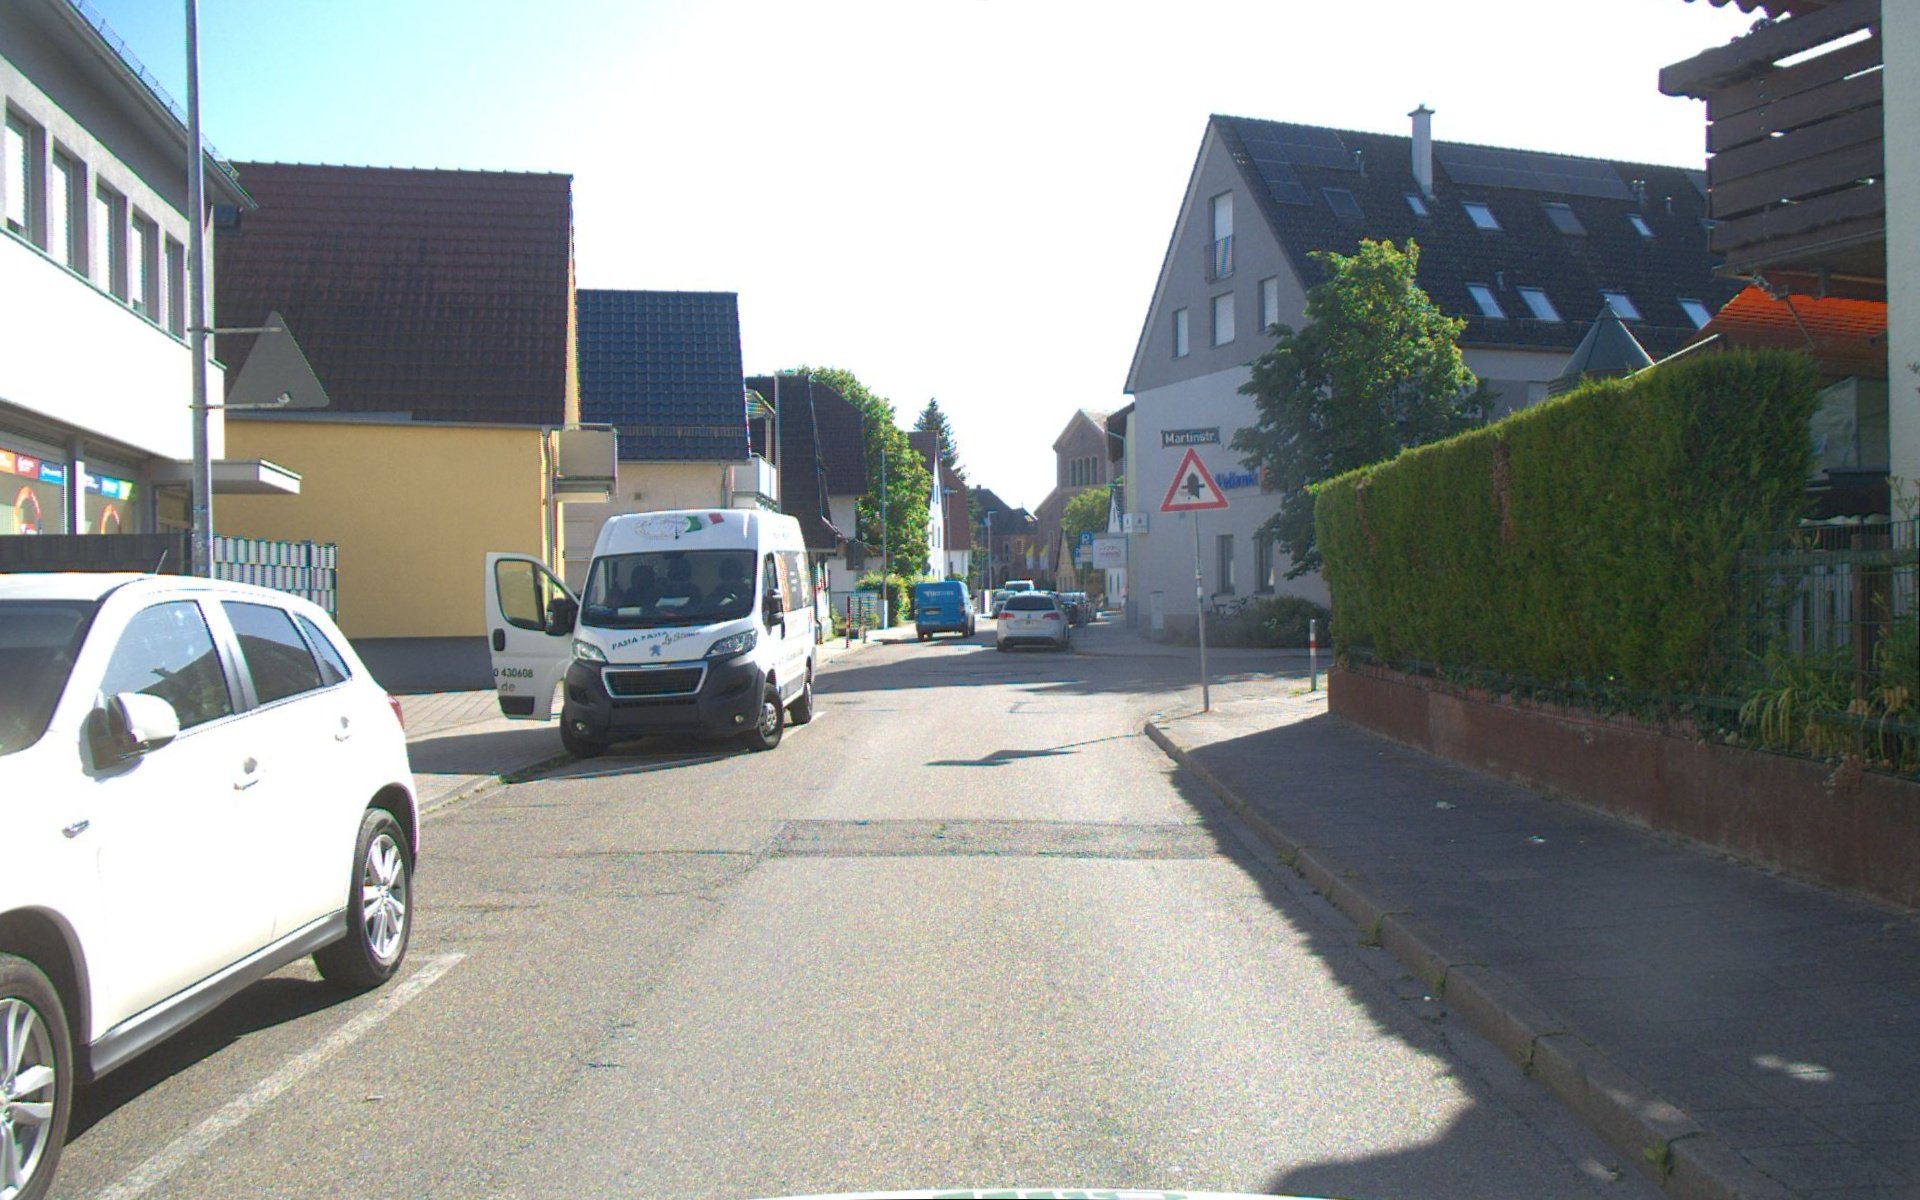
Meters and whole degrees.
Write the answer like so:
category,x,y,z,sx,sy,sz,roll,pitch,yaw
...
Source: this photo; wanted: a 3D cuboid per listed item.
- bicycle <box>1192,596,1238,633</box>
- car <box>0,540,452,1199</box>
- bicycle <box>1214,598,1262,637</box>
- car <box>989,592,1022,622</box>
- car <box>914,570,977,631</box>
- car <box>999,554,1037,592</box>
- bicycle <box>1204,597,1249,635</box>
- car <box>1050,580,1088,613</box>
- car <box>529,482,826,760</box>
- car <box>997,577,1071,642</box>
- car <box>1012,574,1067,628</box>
category,x,y,z,sx,sy,sz,roll,pitch,yaw
bicycle,6.766,0.376,43.873,1.138,0.936,0.313,-2,0,11
car,-3.012,0.708,4.986,1.687,1.646,4.111,-2,1,-1
bicycle,7.095,0.455,42.227,1.139,0.936,0.313,-2,0,1
car,2.791,0.410,101.632,1.678,1.626,3.928,-3,1,6
car,-0.451,-0.021,57.628,1.863,1.950,5.072,-3,1,2
car,4.045,-1.853,114.189,2.151,2.431,6.069,-4,1,6
bicycle,7.001,0.415,43.417,1.138,0.936,0.313,-2,0,11
car,5.371,-0.203,81.107,1.773,1.501,4.662,-1,1,4
car,-2.876,0.162,18.310,2.206,2.513,5.516,-2,1,0
car,1.987,0.202,43.638,1.807,1.540,4.509,-2,1,4
car,2.358,-0.006,49.269,1.576,1.547,3.973,0,1,3
